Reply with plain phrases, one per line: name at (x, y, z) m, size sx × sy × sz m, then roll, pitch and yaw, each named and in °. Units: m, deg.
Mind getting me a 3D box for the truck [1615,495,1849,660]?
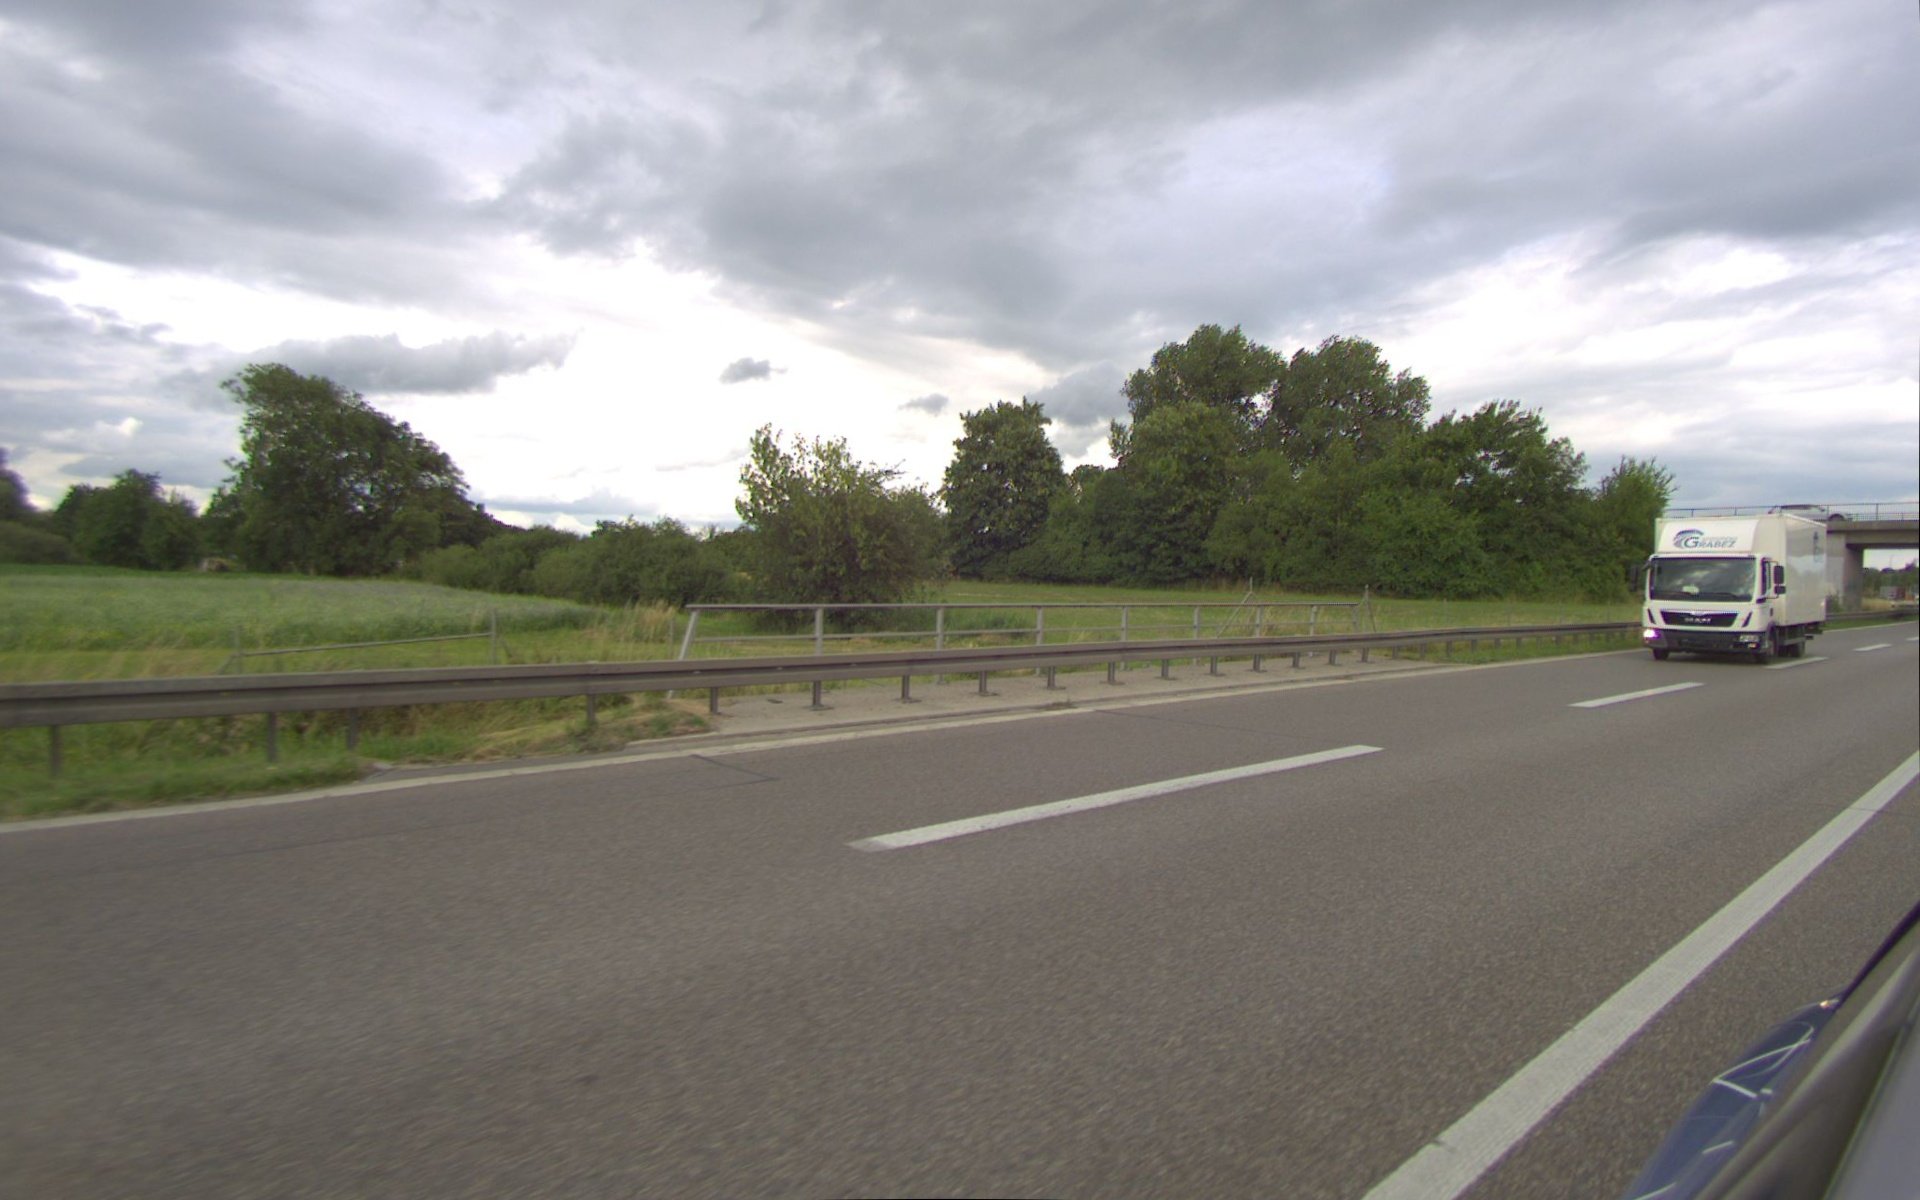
truck at (19.776, -0.493, 25.655) m, size 8.737 × 3.515 × 3.109 m, roll 0°, pitch 0°, yaw -42°
